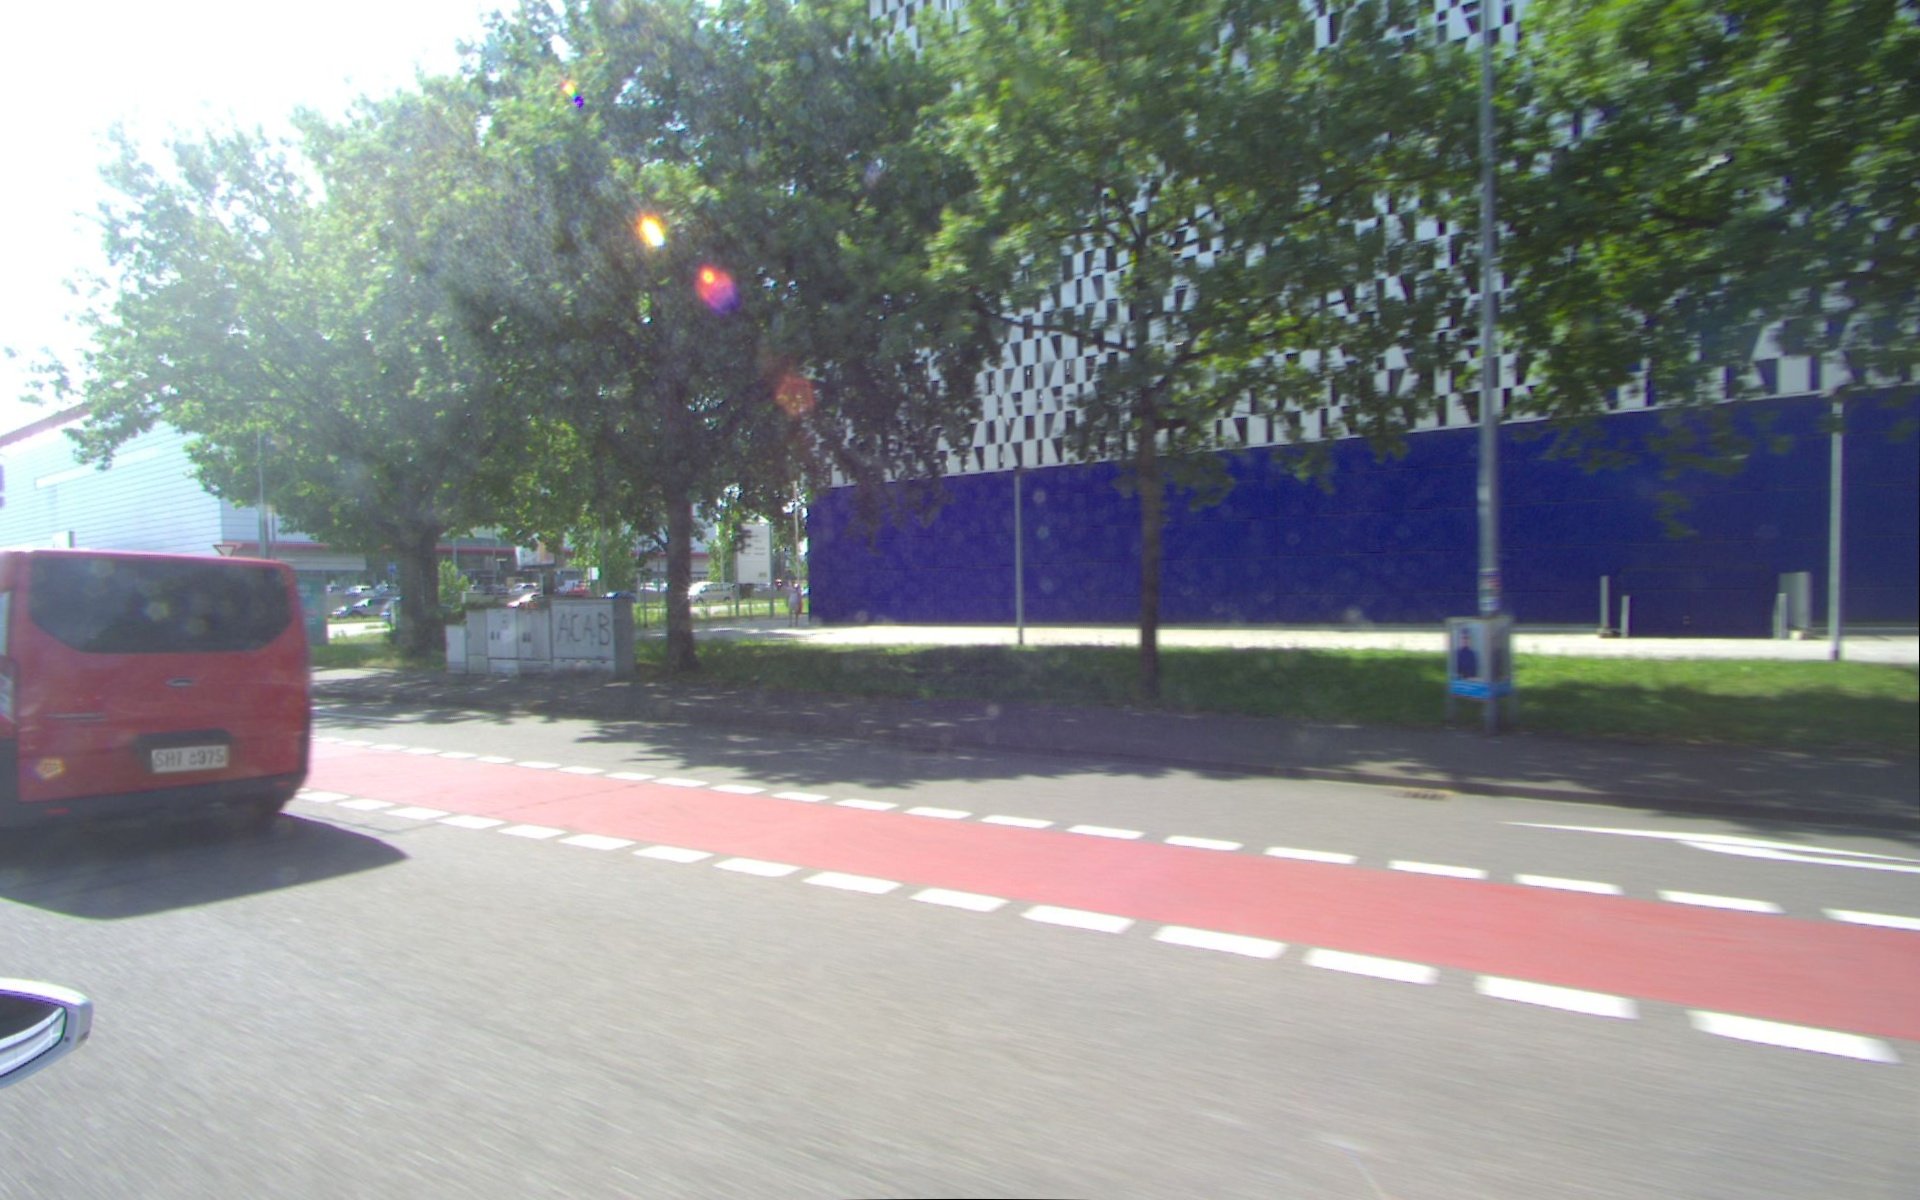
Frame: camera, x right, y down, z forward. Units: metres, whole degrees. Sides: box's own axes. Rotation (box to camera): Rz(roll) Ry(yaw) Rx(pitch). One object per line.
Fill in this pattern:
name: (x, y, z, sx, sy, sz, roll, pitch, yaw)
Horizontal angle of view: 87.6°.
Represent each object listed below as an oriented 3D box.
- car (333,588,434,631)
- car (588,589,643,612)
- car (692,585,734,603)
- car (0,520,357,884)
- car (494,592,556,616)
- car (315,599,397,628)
car: (-30.871, 0.476, 53.739, 1.461, 2.022, 4.386, 0, 3, 35)
car: (-26.759, 0.036, 77.873, 1.462, 1.540, 3.756, 0, 3, 37)
car: (-21.093, -0.508, 85.556, 1.289, 1.285, 3.278, 0, 3, 40)
car: (-6.900, 0.588, 7.601, 5.052, 1.993, 1.963, -1, 0, 33)
car: (-31.290, 0.280, 72.078, 1.462, 1.540, 3.756, 0, 3, 37)
car: (-37.980, 0.812, 63.086, 1.462, 1.540, 4.114, 0, 3, 37)
